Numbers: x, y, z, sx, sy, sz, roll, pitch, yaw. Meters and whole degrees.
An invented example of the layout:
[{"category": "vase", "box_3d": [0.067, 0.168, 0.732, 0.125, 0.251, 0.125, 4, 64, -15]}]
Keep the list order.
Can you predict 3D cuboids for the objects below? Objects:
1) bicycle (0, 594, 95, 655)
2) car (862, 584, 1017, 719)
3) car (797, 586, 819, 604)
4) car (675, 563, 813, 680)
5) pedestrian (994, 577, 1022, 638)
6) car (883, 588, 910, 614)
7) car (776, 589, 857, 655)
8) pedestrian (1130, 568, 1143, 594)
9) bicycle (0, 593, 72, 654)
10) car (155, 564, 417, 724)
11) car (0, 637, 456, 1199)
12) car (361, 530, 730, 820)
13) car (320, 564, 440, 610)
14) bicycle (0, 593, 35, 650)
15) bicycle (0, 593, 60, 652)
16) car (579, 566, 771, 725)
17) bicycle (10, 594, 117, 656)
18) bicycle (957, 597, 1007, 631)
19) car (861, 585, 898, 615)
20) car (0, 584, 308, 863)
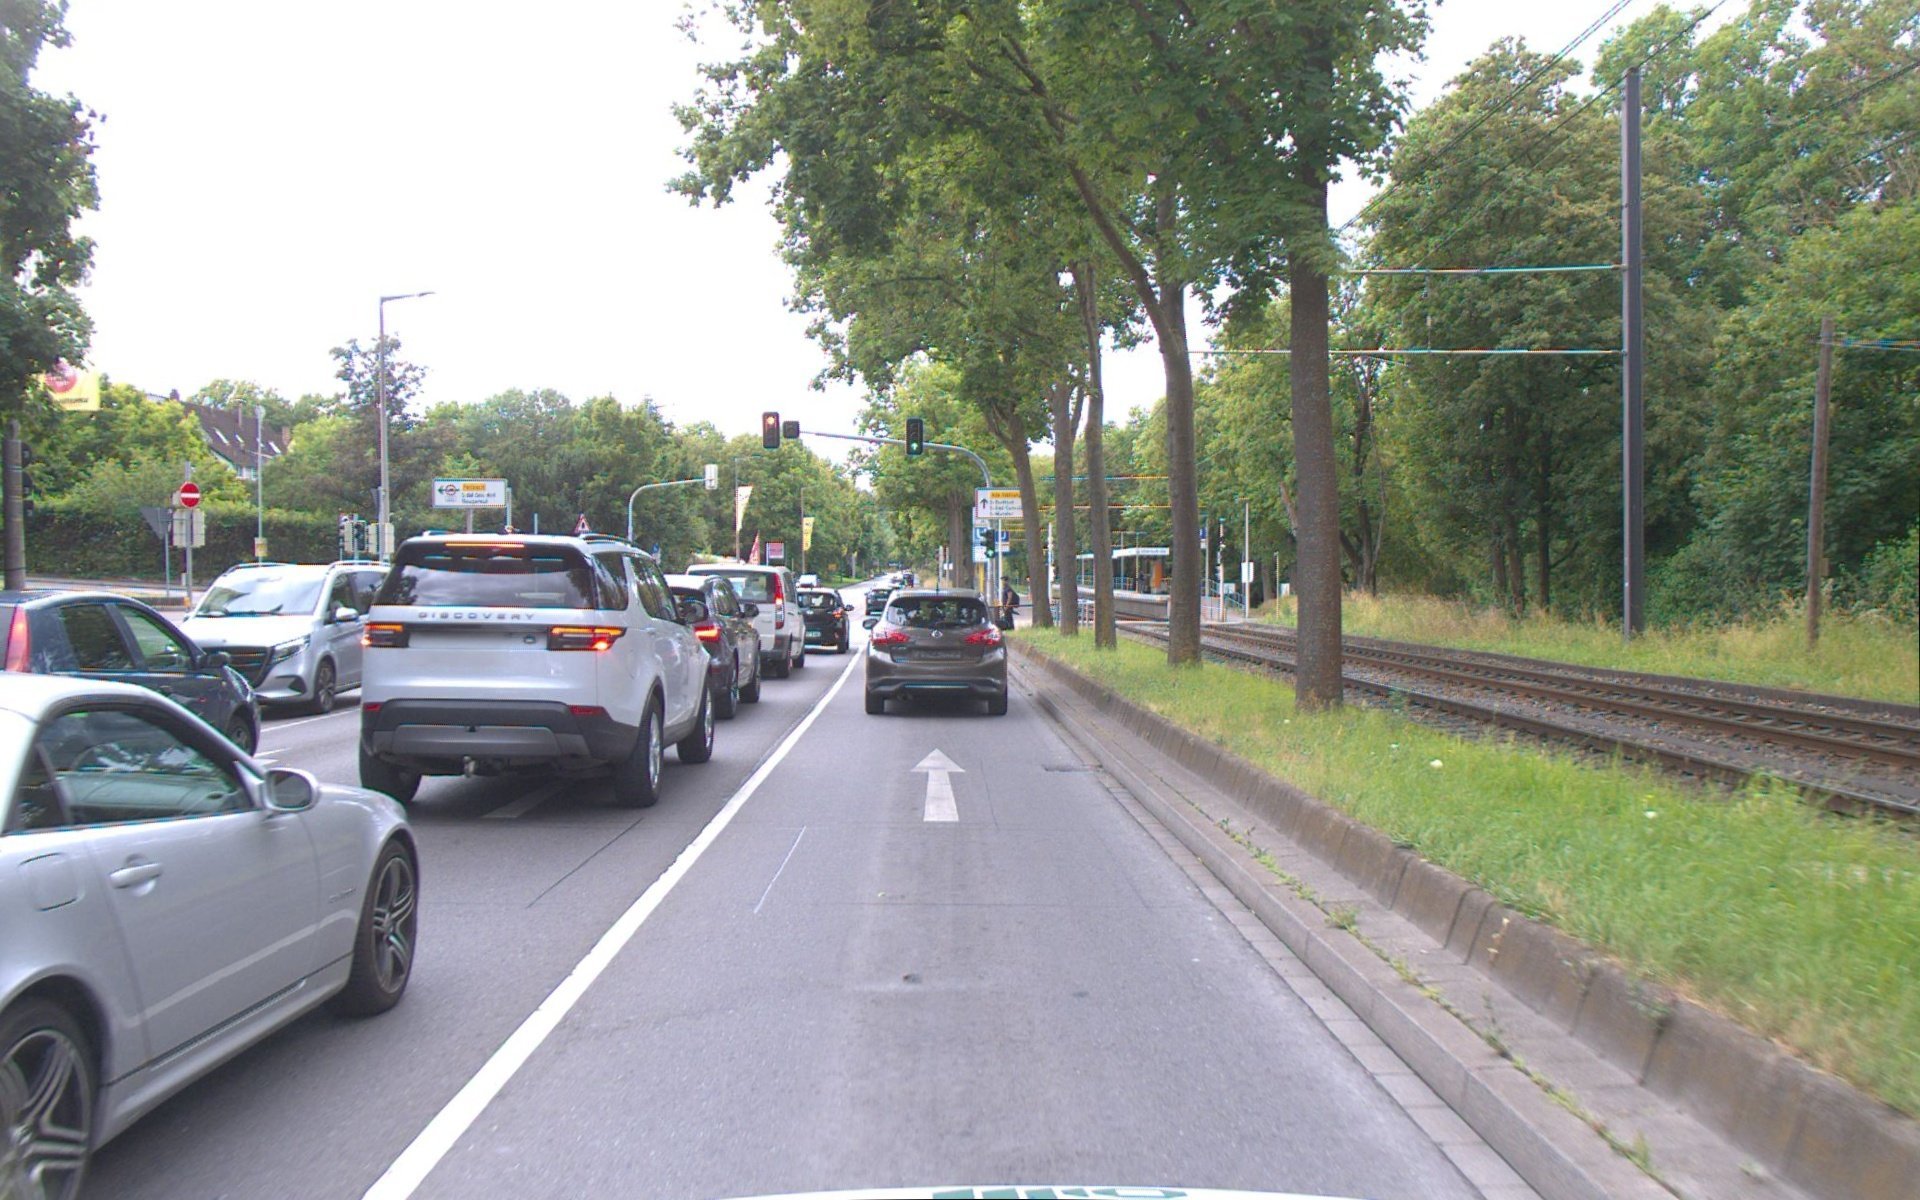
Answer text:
[{"category": "bicycle", "box_3d": [-19.615, 0.520, 35.350, 0.535, 1.274, 1.928, 1, 0, 36]}, {"category": "car", "box_3d": [-0.231, 0.596, 21.350, 1.799, 1.555, 3.929, 1, 0, 0]}, {"category": "car", "box_3d": [-14.060, -0.465, 153.248, 1.864, 1.708, 5.077, 0, 0, -4]}, {"category": "car", "box_3d": [-3.703, 0.338, 29.214, 1.868, 1.875, 5.280, 0, 0, -1]}, {"category": "pedestrian", "box_3d": [1.446, 0.224, 49.578, 0.736, 1.767, 0.840, -3, 0, 3]}, {"category": "car", "box_3d": [-3.957, 0.042, 103.330, 1.472, 1.555, 3.671, 1, 0, 0]}, {"category": "car", "box_3d": [-3.366, 0.487, 39.286, 1.669, 1.506, 3.666, 0, 0, -1]}, {"category": "pedestrian", "box_3d": [10.819, -1.154, 101.213, 0.703, 1.538, 0.724, 1, -1, 1]}, {"category": "bicycle", "box_3d": [-20.276, 0.503, 35.656, 0.535, 1.274, 1.928, 1, -1, 36]}, {"category": "car", "box_3d": [-8.770, 0.513, 21.960, 1.755, 1.863, 4.408, -1, 0, -2]}, {"category": "car", "box_3d": [-2.735, 0.796, 4.658, 1.523, 1.289, 3.821, 0, 0, -1]}, {"category": "car", "box_3d": [-2.969, 0.489, 12.862, 1.766, 1.826, 4.502, 1, 0, -1]}, {"category": "car", "box_3d": [-24.218, -0.525, 69.161, 4.341, 1.843, 1.948, 1, 0, -4]}, {"category": "bicycle", "box_3d": [-21.697, 0.467, 36.736, 0.535, 1.274, 1.928, 1, -1, 36]}, {"category": "bicycle", "box_3d": [-20.899, 0.488, 36.303, 0.535, 1.274, 1.928, 1, -1, 36]}, {"category": "car", "box_3d": [-3.418, 0.510, 20.558, 1.716, 1.748, 4.333, 0, 0, -1]}, {"category": "bicycle", "box_3d": [-18.983, 0.537, 35.072, 0.535, 1.274, 1.928, 1, -1, 36]}, {"category": "bicycle", "box_3d": [0.777, 0.505, 58.339, 1.642, 1.109, 0.601, -3, 0, -5]}, {"category": "car", "box_3d": [-4.159, 0.007, 86.100, 1.675, 1.501, 3.671, 1, 0, 0]}, {"category": "car", "box_3d": [-5.847, 0.675, 10.815, 1.559, 1.493, 3.929, -2, 0, 0]}]
